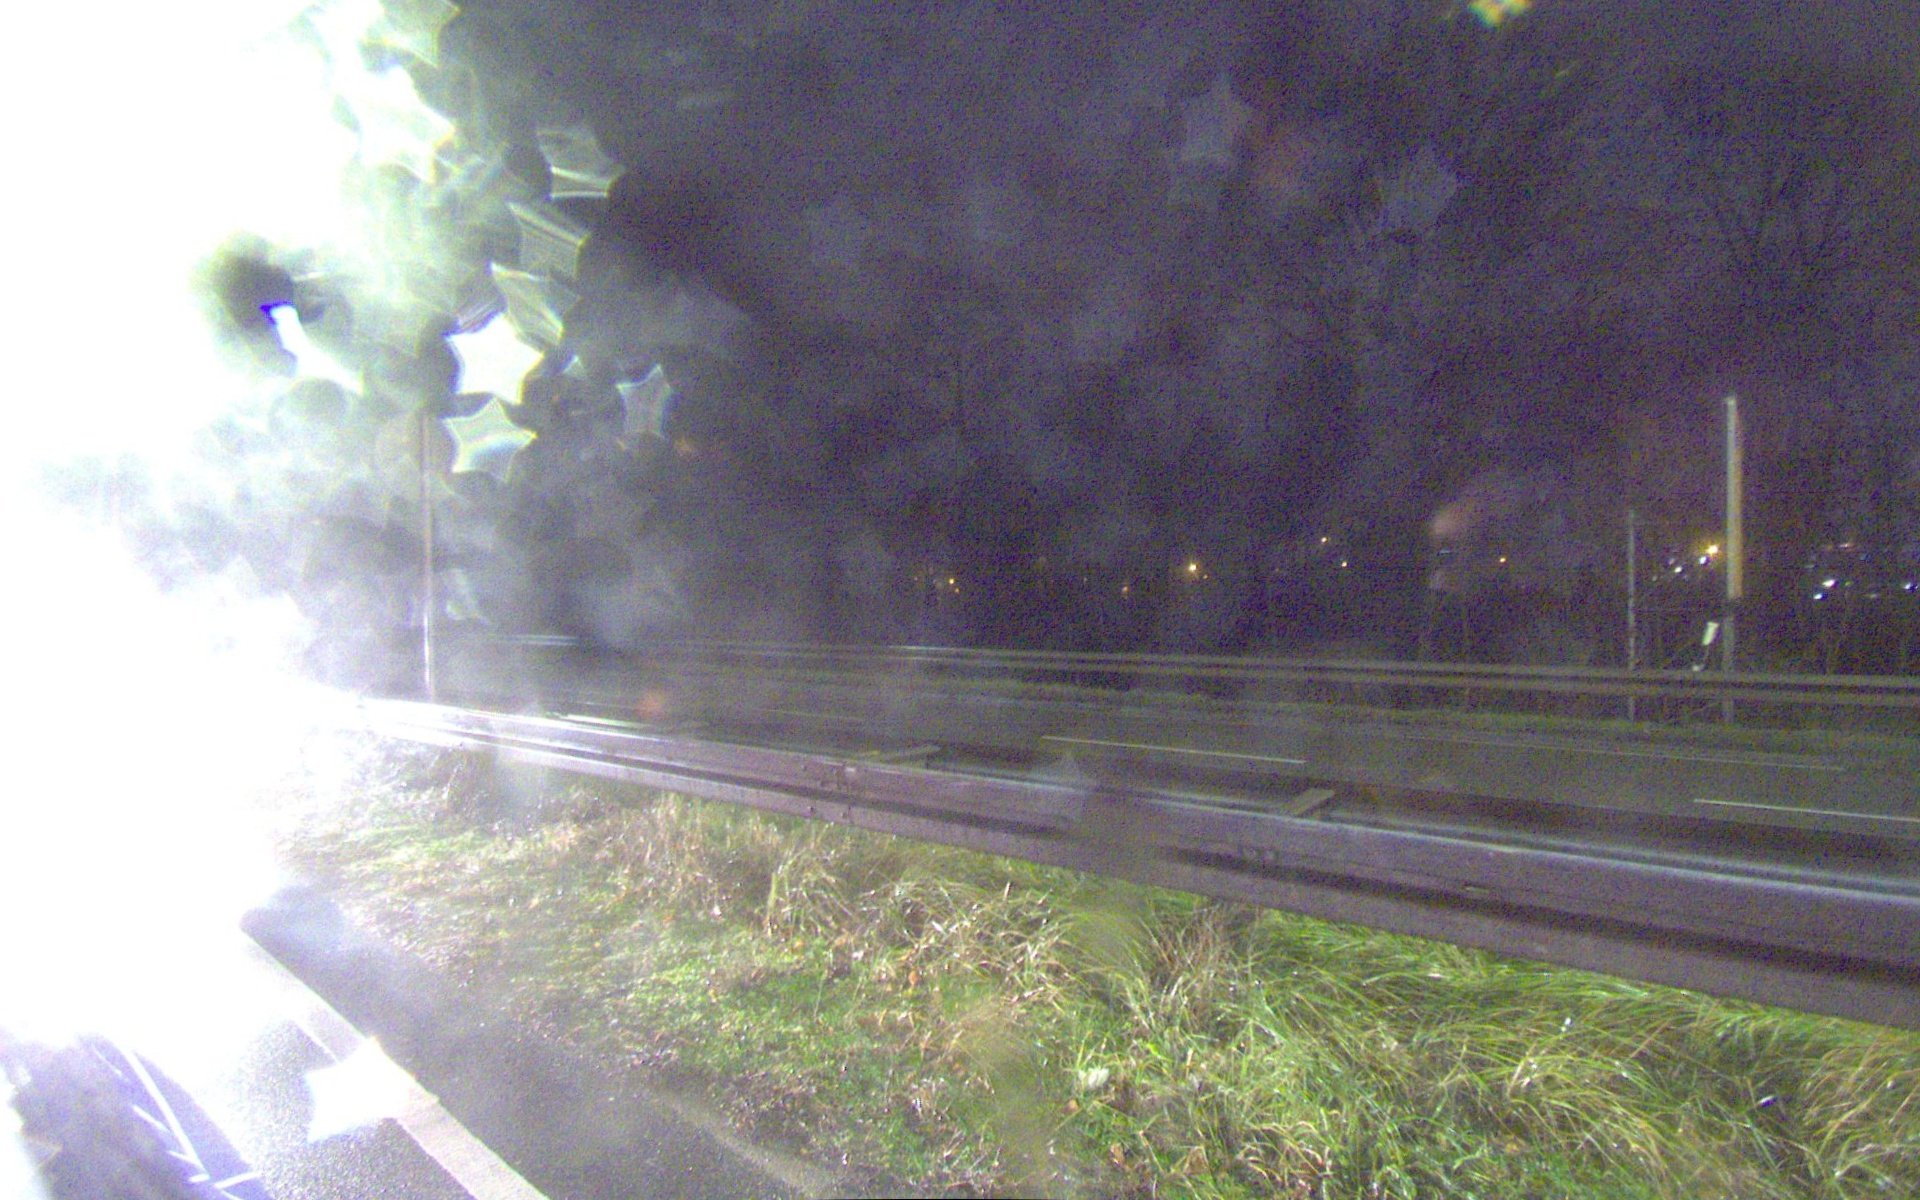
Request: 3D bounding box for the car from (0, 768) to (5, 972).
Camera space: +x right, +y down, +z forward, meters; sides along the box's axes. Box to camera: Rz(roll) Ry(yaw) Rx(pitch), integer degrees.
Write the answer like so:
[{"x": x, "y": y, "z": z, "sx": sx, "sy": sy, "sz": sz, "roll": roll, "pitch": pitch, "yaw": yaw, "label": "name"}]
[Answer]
[{"x": -5.667, "y": 0.834, "z": 4.688, "sx": 3.388, "sy": 1.435, "sz": 1.478, "roll": -1, "pitch": 0, "yaw": 41, "label": "car"}]
